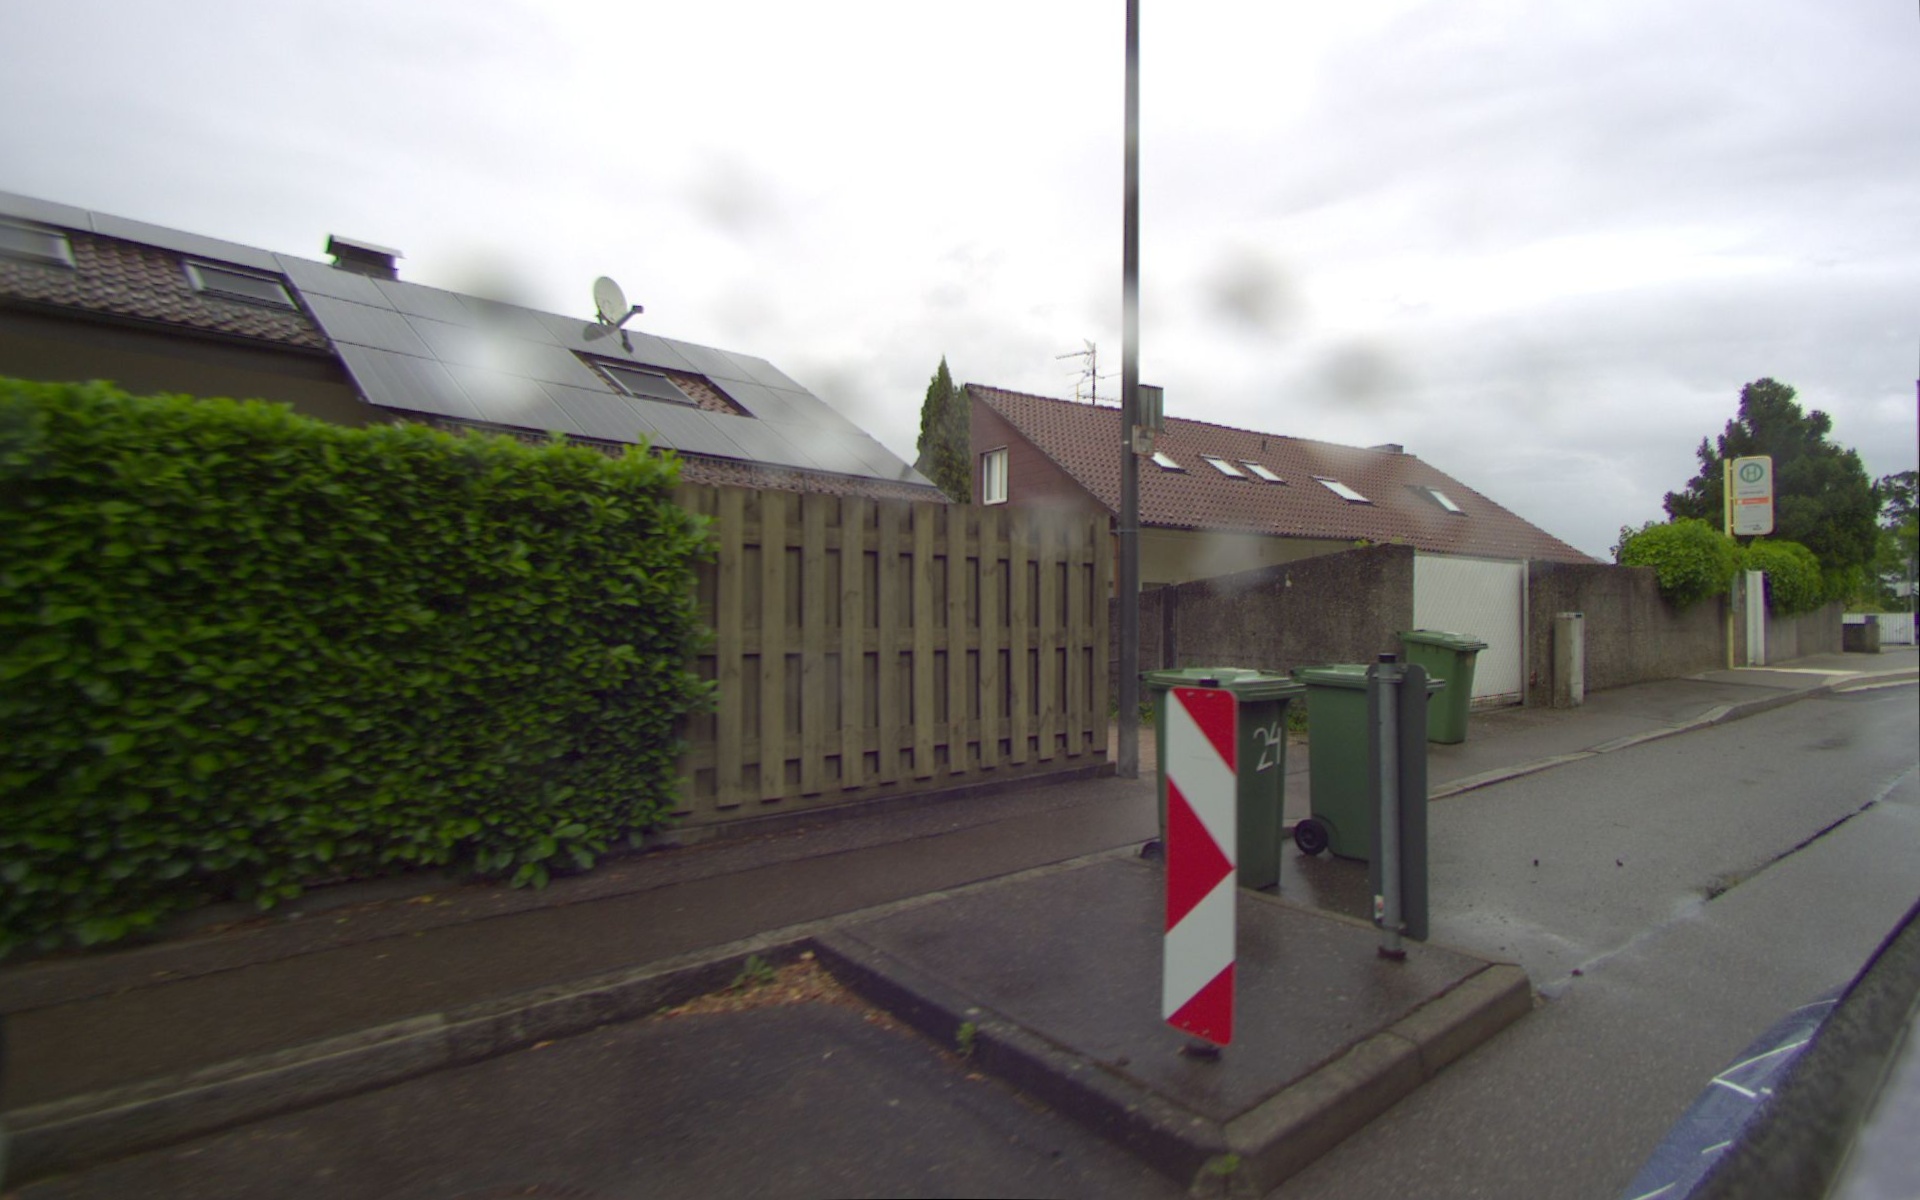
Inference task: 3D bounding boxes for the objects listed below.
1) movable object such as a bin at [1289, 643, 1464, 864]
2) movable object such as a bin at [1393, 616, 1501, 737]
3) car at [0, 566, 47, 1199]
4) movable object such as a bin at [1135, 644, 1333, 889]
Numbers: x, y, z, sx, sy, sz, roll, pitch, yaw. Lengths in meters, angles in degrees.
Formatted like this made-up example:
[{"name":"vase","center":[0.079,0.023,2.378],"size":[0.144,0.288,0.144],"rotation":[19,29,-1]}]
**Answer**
[{"name":"movable object such as a bin","center":[2.361,0.819,5.748],"size":[0.645,1.109,0.716],"rotation":[0,-1,-43]},{"name":"movable object such as a bin","center":[4.791,0.725,9.974],"size":[0.588,1.102,0.741],"rotation":[1,2,-36]},{"name":"car","center":[-3.279,0.687,0.403],"size":[4.224,1.480,1.759],"rotation":[0,-1,-40]},{"name":"movable object such as a bin","center":[1.390,0.787,5.159],"size":[0.649,1.092,0.730],"rotation":[0,-1,-41]}]
